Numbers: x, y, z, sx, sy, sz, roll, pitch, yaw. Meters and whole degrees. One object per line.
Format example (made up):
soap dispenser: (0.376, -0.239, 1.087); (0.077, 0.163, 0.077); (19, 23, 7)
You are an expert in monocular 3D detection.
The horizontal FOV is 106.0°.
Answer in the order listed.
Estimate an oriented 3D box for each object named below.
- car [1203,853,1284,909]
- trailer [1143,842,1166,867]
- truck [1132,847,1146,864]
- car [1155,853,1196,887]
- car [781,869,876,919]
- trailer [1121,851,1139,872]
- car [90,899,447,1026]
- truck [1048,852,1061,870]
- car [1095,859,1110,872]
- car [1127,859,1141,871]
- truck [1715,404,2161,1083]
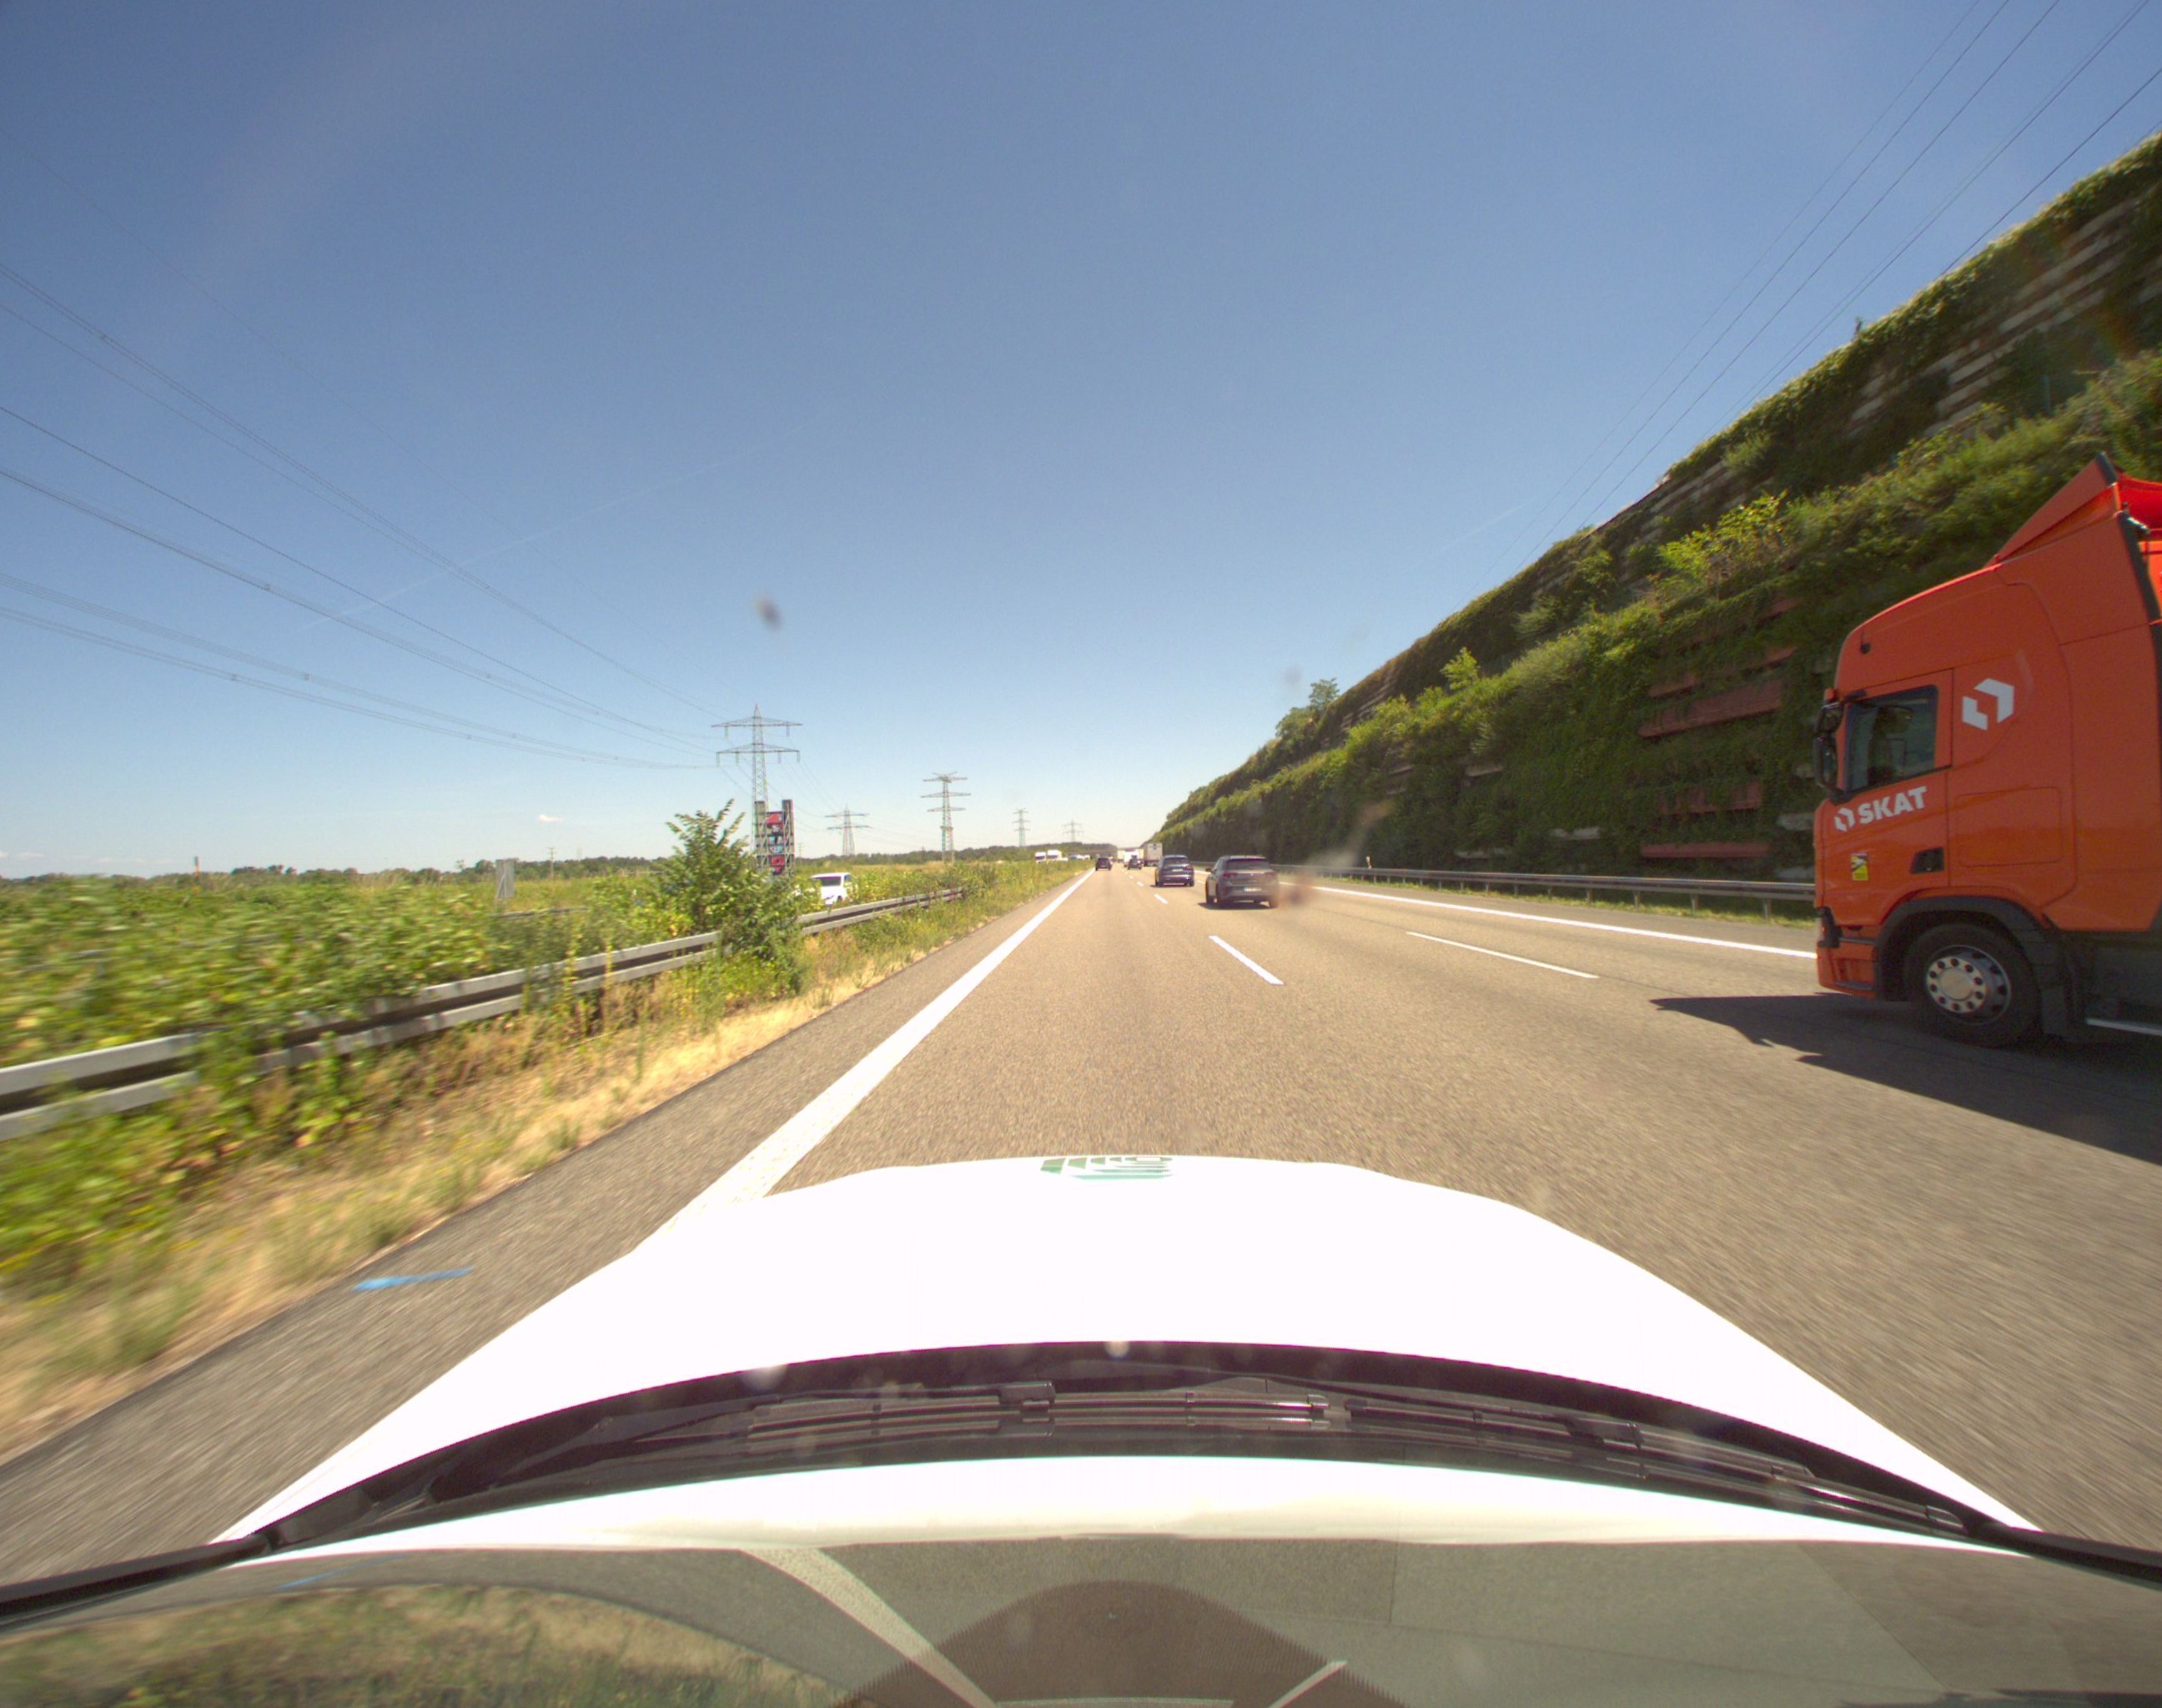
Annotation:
car: (4.869, 0.764, 24.883); (1.743, 1.525, 3.996); (-2, 0, 1)
trailer: (12.842, 0.101, 143.509); (3.171, 4.121, 13.437); (-2, 0, 2)
truck: (15.395, 0.407, 217.492); (3.107, 4.280, 11.939); (-2, 0, 2)
car: (4.984, 0.815, 43.221); (1.787, 1.653, 4.139); (-2, 0, 2)
car: (-8.805, 1.346, 28.862); (1.743, 1.491, 4.966); (-3, 0, 0)
trailer: (8.166, 1.262, 135.940); (2.601, 3.213, 9.955); (-2, 0, 2)
car: (-12.971, 1.631, 13.442); (1.755, 1.505, 4.001); (-3, 0, 2)
truck: (-6.321, 1.768, 195.138); (2.795, 4.158, 5.571); (-1, 0, 1)
car: (2.755, 1.465, 104.602); (1.823, 1.670, 4.001); (-2, 0, 2)
car: (7.031, 1.429, 108.593); (1.822, 1.525, 4.003); (-2, 0, 3)
truck: (7.679, -0.670, 4.952); (2.608, 3.992, 6.528); (-2, 0, 2)
